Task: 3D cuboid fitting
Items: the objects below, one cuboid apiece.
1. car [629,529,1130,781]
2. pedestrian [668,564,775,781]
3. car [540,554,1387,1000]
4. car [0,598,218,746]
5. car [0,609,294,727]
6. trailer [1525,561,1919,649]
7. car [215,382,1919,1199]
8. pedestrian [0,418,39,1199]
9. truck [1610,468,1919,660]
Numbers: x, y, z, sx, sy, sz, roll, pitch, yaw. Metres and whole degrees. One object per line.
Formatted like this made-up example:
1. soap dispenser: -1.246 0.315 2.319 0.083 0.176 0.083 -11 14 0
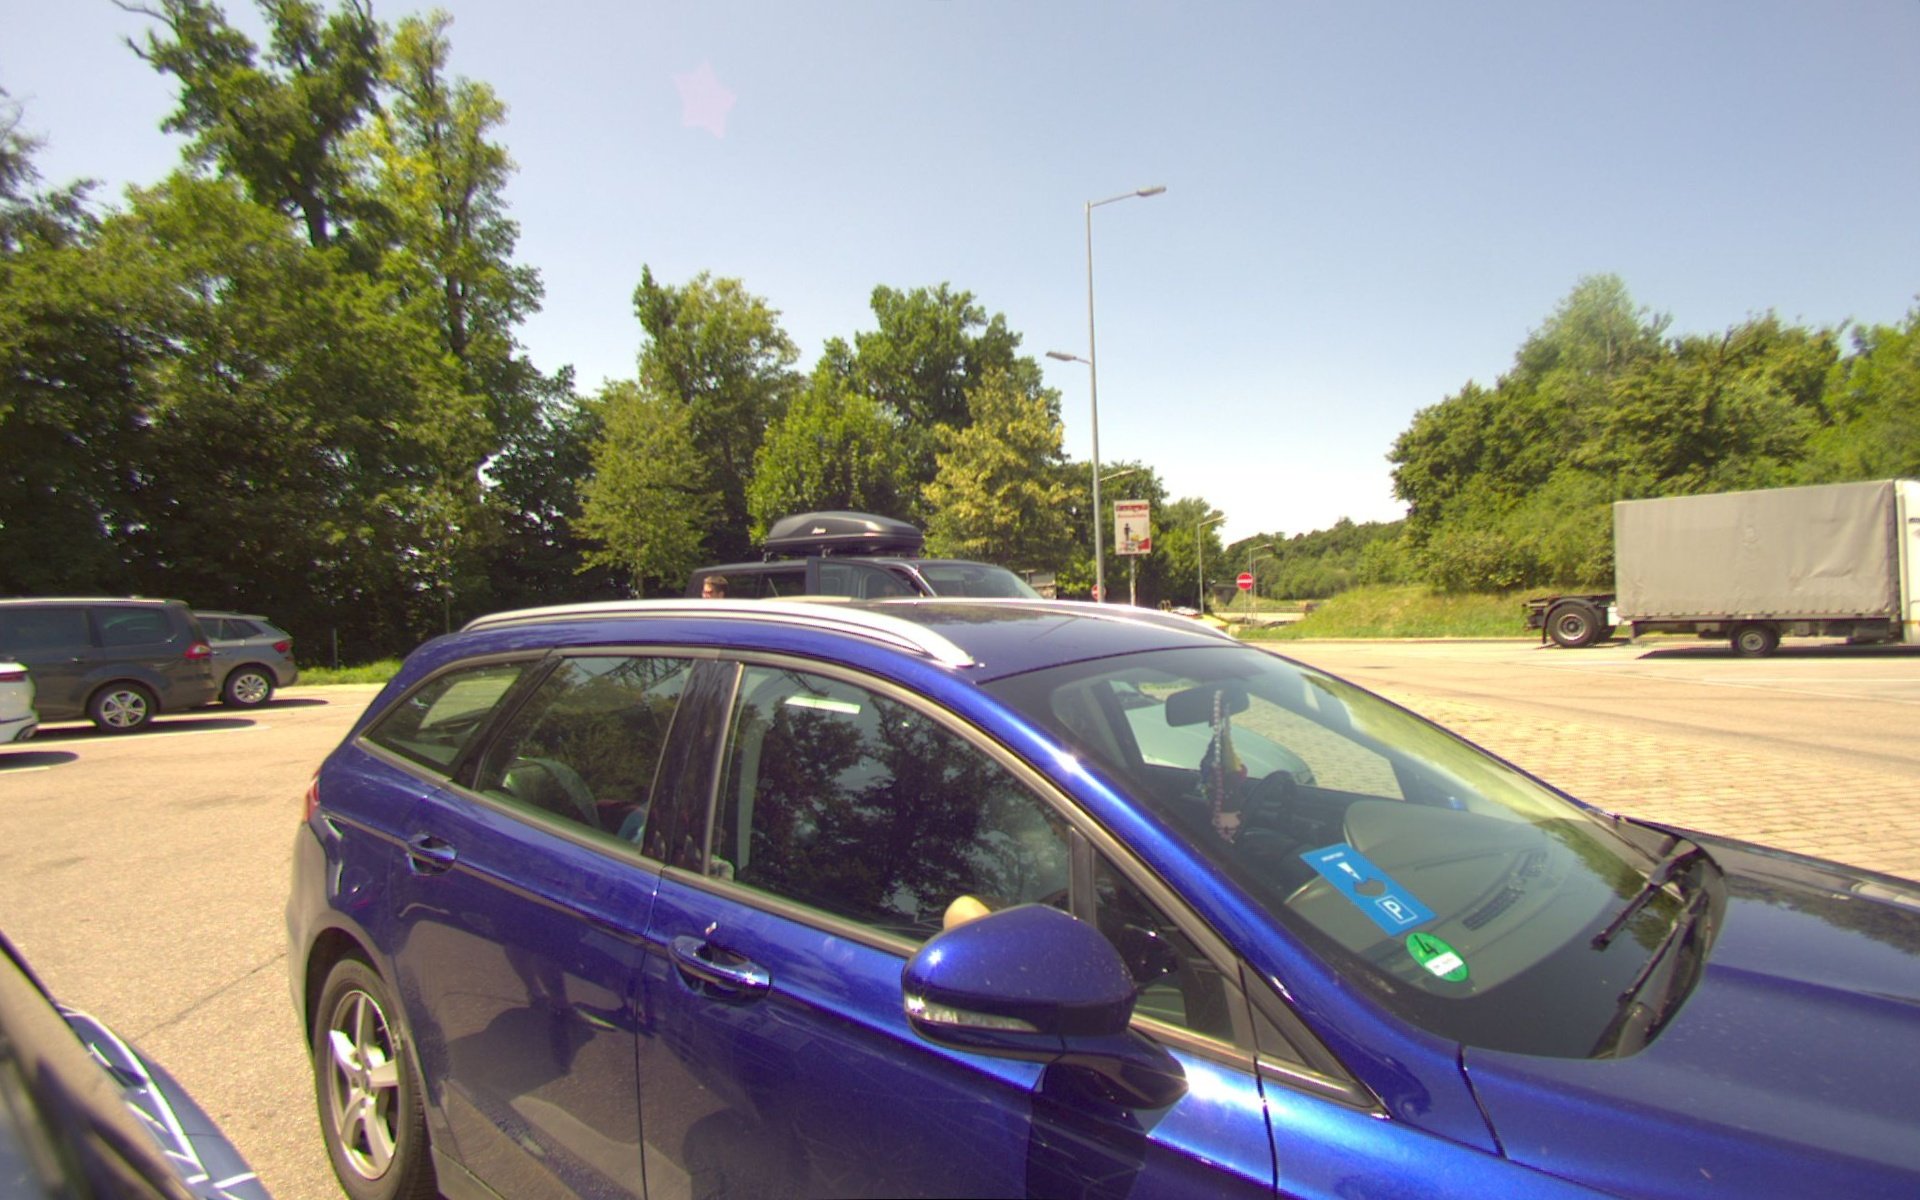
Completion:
1. car: -0.883 0.495 9.631 4.558 1.912 1.740 -3 0 32
2. pedestrian: -2.025 0.592 8.678 0.744 1.767 0.786 -1 0 -3
3. car: -0.312 0.665 5.582 4.569 1.517 1.735 -3 0 40
4. car: -11.623 0.861 12.626 3.767 1.708 1.654 -1 0 -38
5. car: -12.616 0.966 15.632 3.767 1.572 1.654 -1 0 -38
6. trailer: 17.711 0.159 23.086 8.098 1.638 2.187 -4 -1 41
7. car: 0.244 0.629 2.046 4.569 1.482 1.735 -3 0 40
8. pedestrian: -2.716 0.515 2.214 0.905 1.919 0.816 -1 0 -33
9. truck: 16.788 -0.647 18.989 7.274 3.269 2.678 -4 -1 42
